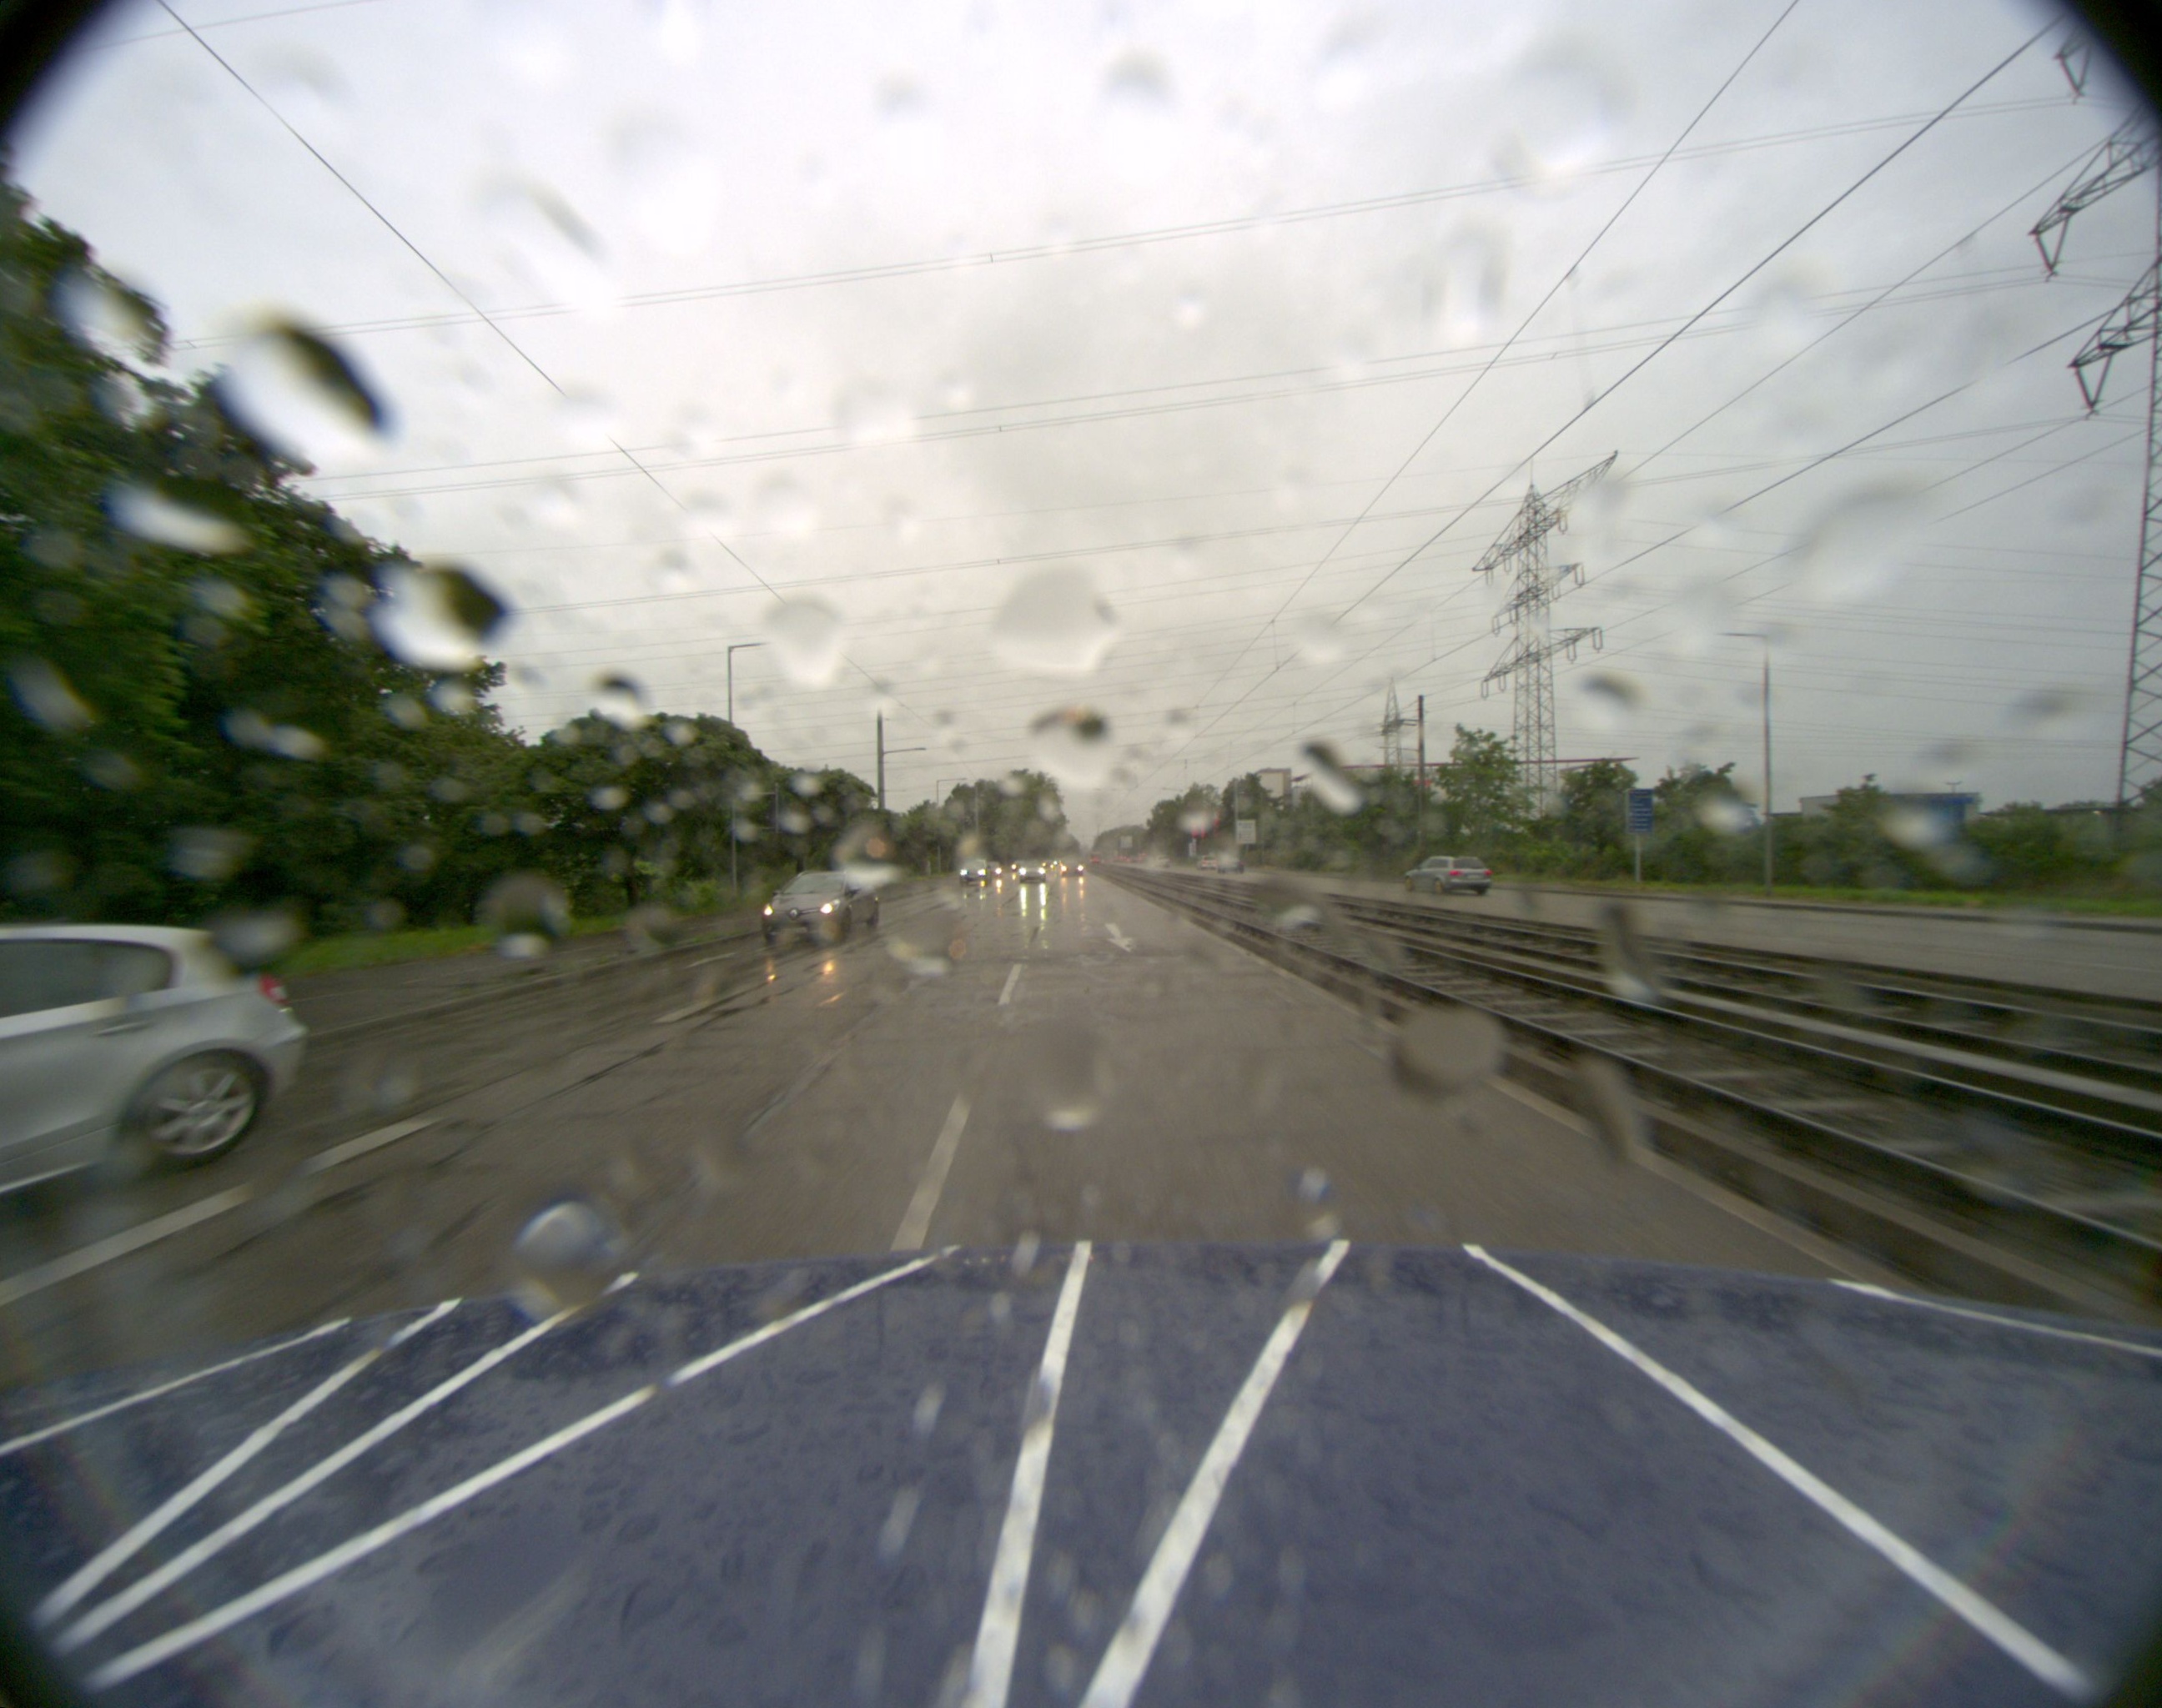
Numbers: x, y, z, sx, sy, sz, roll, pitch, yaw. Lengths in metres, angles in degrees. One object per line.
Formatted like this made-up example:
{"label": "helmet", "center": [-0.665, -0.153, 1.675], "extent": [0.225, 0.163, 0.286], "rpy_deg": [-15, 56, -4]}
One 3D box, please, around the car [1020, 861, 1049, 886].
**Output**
{"label": "car", "center": [-3.119, 1.284, 51.244], "extent": [1.808, 1.521, 3.645], "rpy_deg": [-2, -1, -2]}

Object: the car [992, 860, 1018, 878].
{"label": "car", "center": [-6.351, 1.279, 63.986], "extent": [1.784, 1.419, 4.000], "rpy_deg": [-2, -1, 0]}

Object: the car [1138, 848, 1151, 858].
{"label": "car", "center": [14.264, -0.200, 170.653], "extent": [2.156, 2.284, 5.983], "rpy_deg": [2, -1, -2]}

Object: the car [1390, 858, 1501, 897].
{"label": "car", "center": [14.100, 0.877, 29.749], "extent": [1.762, 1.354, 5.071], "rpy_deg": [-2, -1, -1]}

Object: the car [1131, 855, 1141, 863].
{"label": "car", "center": [14.629, 1.336, 200.916], "extent": [2.095, 2.088, 4.730], "rpy_deg": [-2, -1, -2]}

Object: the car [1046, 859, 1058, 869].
{"label": "car", "center": [-4.601, 1.569, 120.256], "extent": [1.846, 1.572, 3.837], "rpy_deg": [-2, -1, -2]}

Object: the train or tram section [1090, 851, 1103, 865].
{"label": "train or tram section", "center": [4.352, 1.111, 217.688], "extent": [2.893, 3.683, 19.528], "rpy_deg": [-2, -1, -2]}

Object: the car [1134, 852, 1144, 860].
{"label": "car", "center": [14.019, 0.489, 183.619], "extent": [1.901, 1.630, 4.730], "rpy_deg": [-2, -1, -2]}

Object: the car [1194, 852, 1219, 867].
{"label": "car", "center": [14.367, 0.684, 87.461], "extent": [1.847, 1.564, 5.066], "rpy_deg": [-2, -1, -2]}

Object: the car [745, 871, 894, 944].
{"label": "car", "center": [-5.786, 1.126, 17.428], "extent": [1.892, 1.349, 4.277], "rpy_deg": [-2, -1, 0]}

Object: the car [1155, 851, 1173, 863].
{"label": "car", "center": [12.094, 0.504, 110.788], "extent": [1.830, 1.625, 5.136], "rpy_deg": [-2, -1, -2]}

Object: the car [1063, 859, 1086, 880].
{"label": "car", "center": [-0.528, 1.283, 64.967], "extent": [1.816, 1.692, 4.000], "rpy_deg": [-2, -1, 0]}

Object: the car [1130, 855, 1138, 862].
{"label": "car", "center": [15.476, 1.382, 223.571], "extent": [1.868, 1.903, 4.000], "rpy_deg": [-2, -1, -2]}

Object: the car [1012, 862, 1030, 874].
{"label": "car", "center": [-7.267, 1.673, 92.156], "extent": [1.784, 1.419, 4.000], "rpy_deg": [-2, -1, 0]}

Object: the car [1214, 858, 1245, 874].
{"label": "car", "center": [13.658, 1.105, 70.216], "extent": [1.998, 1.455, 5.252], "rpy_deg": [1, -1, 2]}

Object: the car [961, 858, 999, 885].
{"label": "car", "center": [-6.686, 1.141, 50.627], "extent": [1.797, 1.692, 4.763], "rpy_deg": [-2, -1, 0]}

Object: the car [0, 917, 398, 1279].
{"label": "car", "center": [-5.718, 1.190, 3.020], "extent": [1.630, 1.494, 4.607], "rpy_deg": [-2, -1, 3]}
